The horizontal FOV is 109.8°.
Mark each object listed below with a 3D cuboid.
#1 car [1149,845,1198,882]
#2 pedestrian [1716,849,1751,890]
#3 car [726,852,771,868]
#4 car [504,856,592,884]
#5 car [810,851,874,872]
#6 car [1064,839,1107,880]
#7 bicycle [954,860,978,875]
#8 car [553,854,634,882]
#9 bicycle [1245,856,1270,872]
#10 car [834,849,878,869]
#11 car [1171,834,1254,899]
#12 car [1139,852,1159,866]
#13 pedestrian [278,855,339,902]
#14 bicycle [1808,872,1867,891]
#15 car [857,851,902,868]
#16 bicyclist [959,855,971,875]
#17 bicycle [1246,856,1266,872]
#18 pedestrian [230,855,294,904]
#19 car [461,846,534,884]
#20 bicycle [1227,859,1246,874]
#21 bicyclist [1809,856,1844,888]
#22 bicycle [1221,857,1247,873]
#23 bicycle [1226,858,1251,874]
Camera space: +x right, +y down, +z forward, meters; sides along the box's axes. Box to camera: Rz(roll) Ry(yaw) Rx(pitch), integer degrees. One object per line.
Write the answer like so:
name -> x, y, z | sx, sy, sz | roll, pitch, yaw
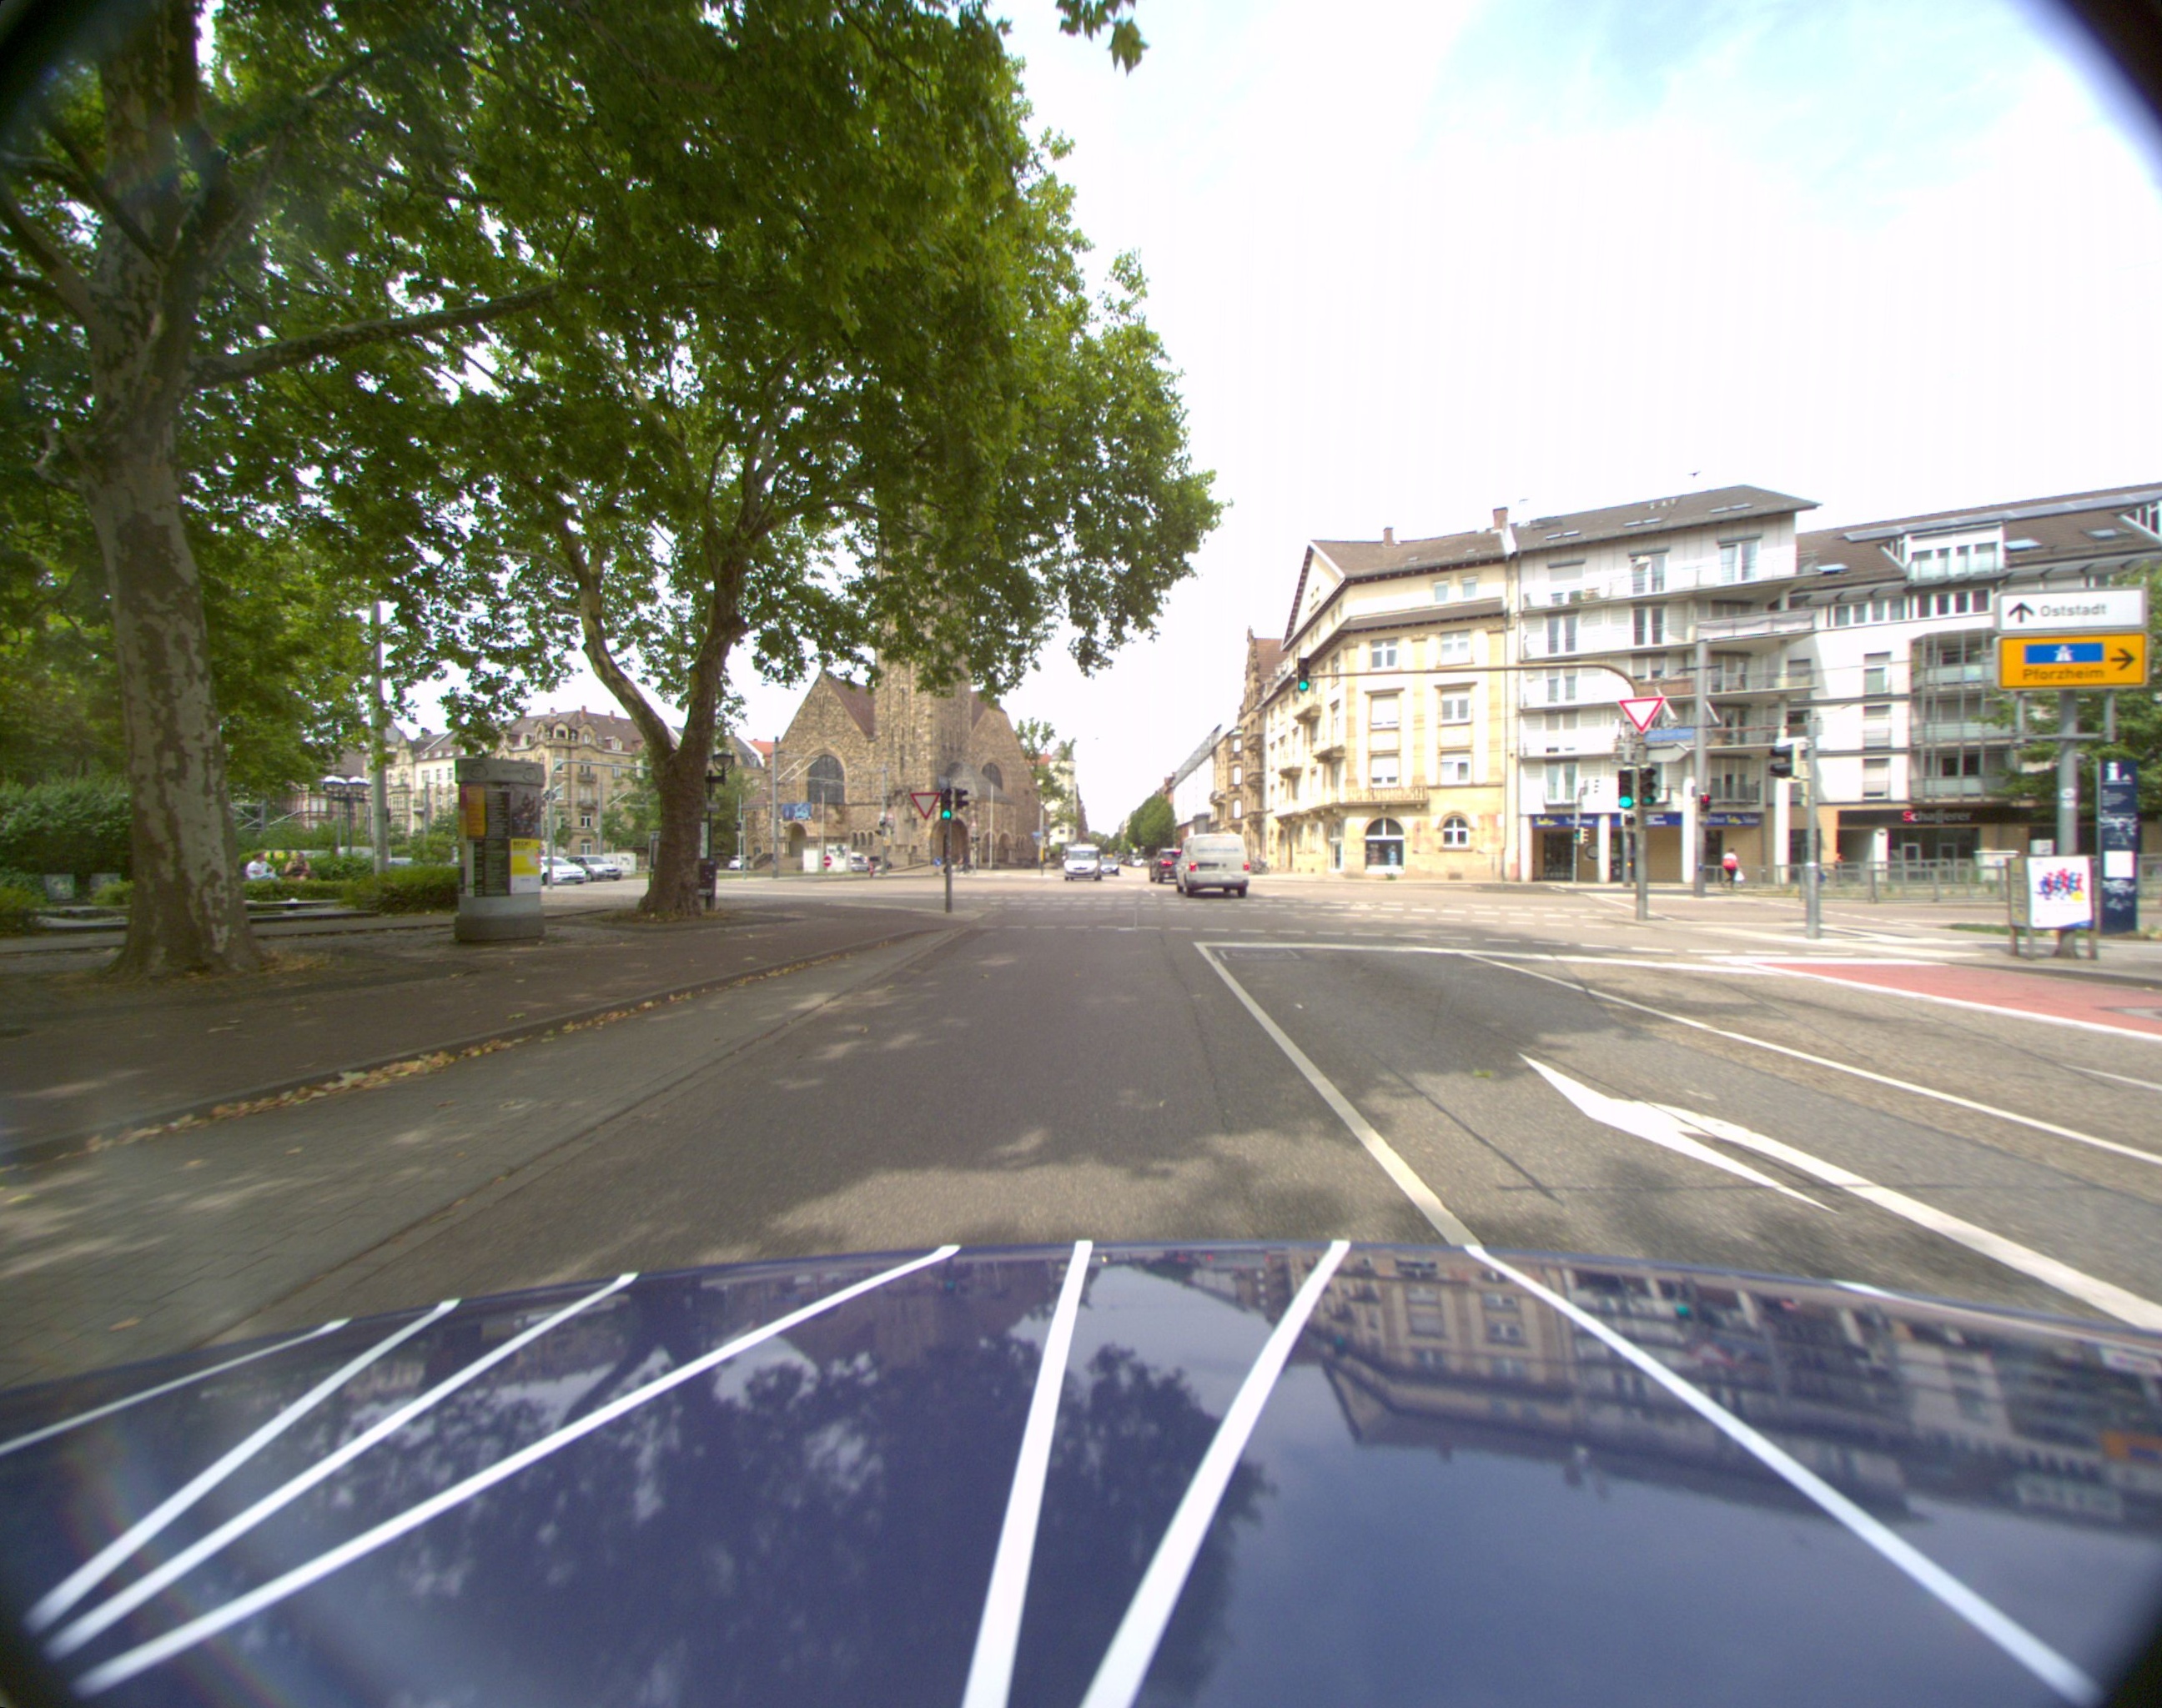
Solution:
car -> 4.328, 0.434, 36.002 | 1.826, 1.637, 4.428 | -1, 0, 1
pedestrian -> 25.539, 0.599, 29.768 | 0.837, 1.543, 0.869 | 0, 0, 25
car -> -34.893, 0.661, 79.885 | 1.995, 1.631, 3.961 | 0, 0, 26
car -> -27.616, 0.802, 39.349 | 4.277, 1.375, 1.843 | 0, 0, 25
car -> -18.232, 0.541, 57.860 | 4.834, 1.515, 1.772 | 0, 0, 28
car -> 0.295, 0.290, 40.333 | 2.081, 2.039, 4.681 | 0, 0, 3
bicycle -> -8.933, 1.023, 59.012 | 1.812, 1.079, 0.598 | -2, 0, -5
car -> -27.411, 0.781, 42.720 | 4.277, 1.502, 1.843 | 0, 0, 25
bicycle -> 13.474, 0.755, 58.043 | 1.830, 1.185, 0.397 | -2, -1, 1
car -> -21.810, 0.480, 73.760 | 1.995, 1.871, 3.961 | 0, 0, 26
car -> 4.222, 0.373, 25.147 | 1.928, 1.925, 4.948 | -1, 0, 1
car -> 7.632, 0.560, 85.919 | 1.768, 1.515, 3.999 | 1, 0, -1
pedestrian -> -22.259, 0.684, 21.898 | 1.176, 1.310, 0.869 | 0, 0, 24
bicycle -> 34.694, 1.270, 34.858 | 1.786, 0.811, 0.653 | 0, 0, 26
car -> -19.105, 0.510, 72.218 | 1.995, 1.641, 4.007 | 0, 0, 26
bicyclist -> -8.975, 0.842, 59.011 | 0.839, 1.488, 0.589 | -2, 0, -5
bicycle -> 13.617, 0.775, 59.140 | 1.345, 1.185, 0.397 | -3, 0, -5
pedestrian -> -22.659, 0.691, 21.029 | 1.176, 1.310, 0.869 | 0, 0, 24
car -> -32.215, 0.571, 41.956 | 3.988, 2.002, 2.004 | 1, 1, 34
bicycle -> 12.094, 0.966, 59.057 | 1.345, 1.185, 0.397 | -2, 0, -2
bicyclist -> 34.345, 0.830, 35.021 | 0.998, 1.435, 0.642 | 0, 0, 26
bicycle -> 11.563, 0.848, 57.456 | 1.872, 1.185, 0.456 | -1, 0, 21
bicycle -> 12.123, 0.929, 58.517 | 1.821, 1.185, 0.397 | -1, 0, -2
